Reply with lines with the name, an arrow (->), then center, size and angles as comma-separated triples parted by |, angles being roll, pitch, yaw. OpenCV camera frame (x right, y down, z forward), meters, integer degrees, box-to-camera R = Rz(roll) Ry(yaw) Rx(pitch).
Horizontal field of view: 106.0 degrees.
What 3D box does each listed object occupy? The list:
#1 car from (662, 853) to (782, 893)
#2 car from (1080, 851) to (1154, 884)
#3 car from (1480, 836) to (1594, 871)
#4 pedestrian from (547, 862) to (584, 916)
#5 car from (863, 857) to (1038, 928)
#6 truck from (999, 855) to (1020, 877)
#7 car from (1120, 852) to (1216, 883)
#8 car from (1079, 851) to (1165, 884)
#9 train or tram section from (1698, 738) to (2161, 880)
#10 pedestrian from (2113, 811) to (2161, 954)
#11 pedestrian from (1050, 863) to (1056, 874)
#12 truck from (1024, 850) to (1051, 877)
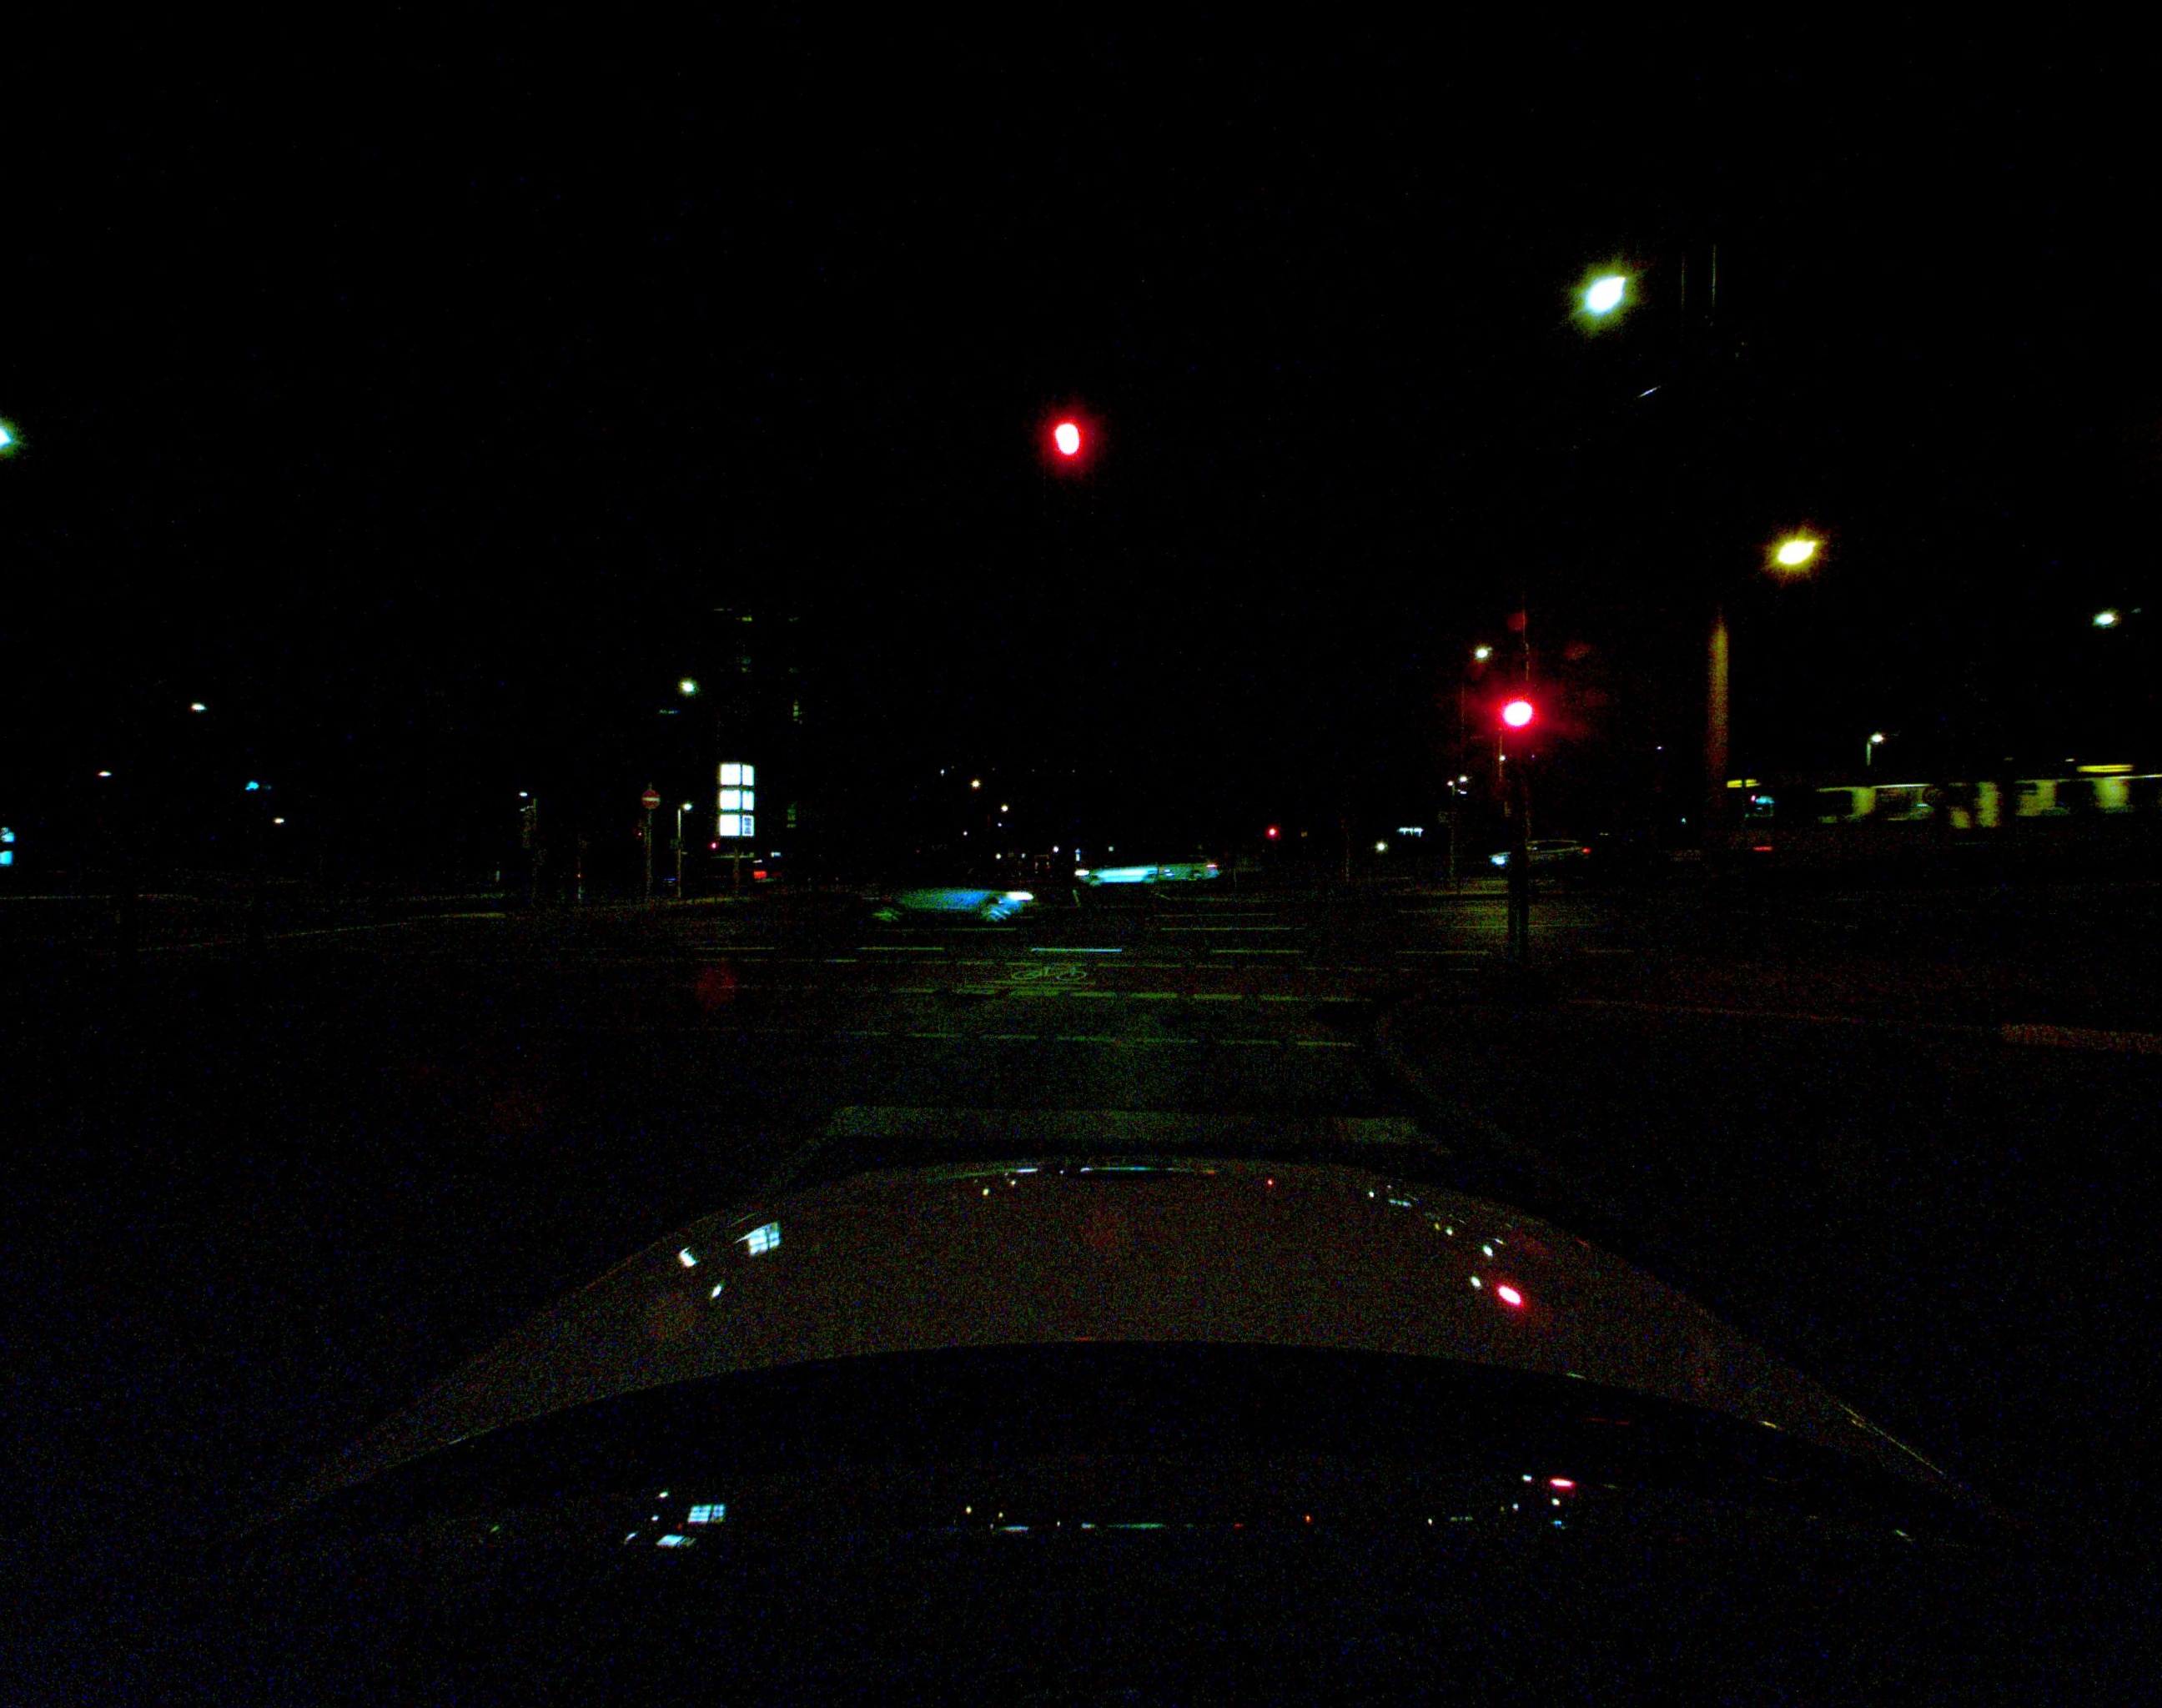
car -> -17.170, 0.907, 39.095 | 4.920, 1.884, 1.871 | 0, -1, 5
car -> 1.971, 0.713, 43.780 | 3.798, 1.631, 1.816 | -1, 0, 8
car -> 21.770, -0.021, 38.990 | 4.379, 1.644, 1.943 | 0, -1, 3
pedestrian -> -16.741, 1.131, 26.439 | 0.700, 1.722, 0.681 | 0, -1, 10
car -> -2.989, 0.881, 19.102 | 3.669, 1.420, 1.645 | -3, 0, 5
truck -> -10.542, 1.774, 119.971 | 2.419, 3.089, 6.412 | 0, -1, -11
car -> 4.252, 0.629, 40.006 | 4.553, 1.486, 1.781 | 0, 0, 5
car -> 1.901, 0.607, 37.240 | 3.817, 1.486, 1.871 | 0, -1, 5
train or tram section -> 29.954, -1.440, 25.386 | 18.328, 3.849, 2.970 | -2, 1, 5
pedestrian -> 13.104, 0.306, 9.606 | 0.870, 1.656, 0.843 | -7, -5, 42
pedestrian -> -5.113, 2.643, 147.929 | 0.851, 1.912, 1.001 | 0, -1, -16
truck -> -8.021, 1.757, 149.240 | 3.366, 4.843, 7.865 | 0, -1, -14
